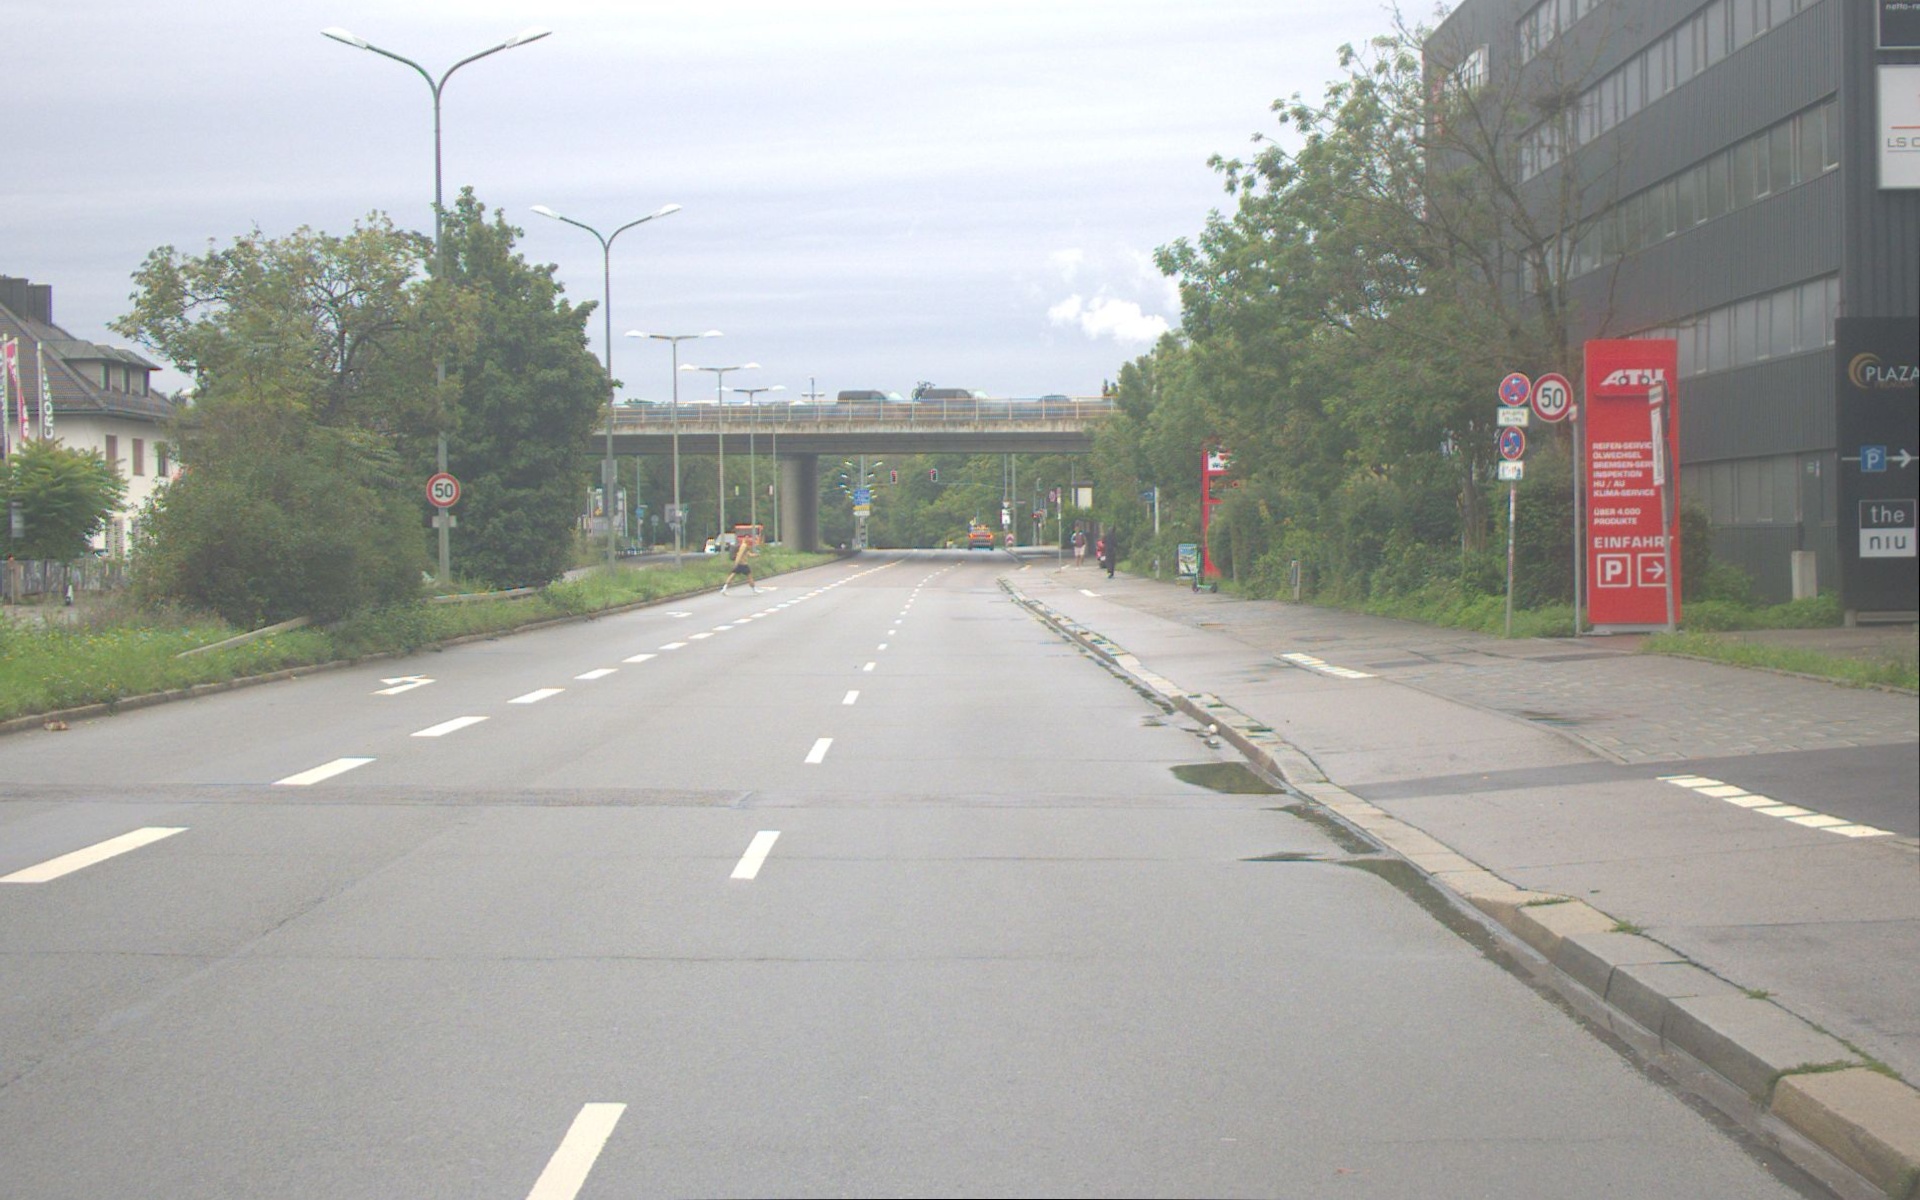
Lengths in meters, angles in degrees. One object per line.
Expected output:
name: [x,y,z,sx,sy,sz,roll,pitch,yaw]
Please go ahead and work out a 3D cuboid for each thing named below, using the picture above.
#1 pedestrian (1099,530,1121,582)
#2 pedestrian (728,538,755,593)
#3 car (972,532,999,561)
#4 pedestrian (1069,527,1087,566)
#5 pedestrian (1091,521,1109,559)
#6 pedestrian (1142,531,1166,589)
pedestrian: [5.414,-1.586,124.362,0.689,1.869,0.662,-2,1,-1]
pedestrian: [-6.612,-1.045,103.959,0.660,1.611,0.691,-2,1,5]
car: [1.799,-3.810,243.345,1.812,2.007,3.833,1,1,1]
pedestrian: [5.075,-2.292,147.418,0.689,1.611,0.662,-2,1,-1]
pedestrian: [6.042,-2.598,148.027,0.689,1.611,0.662,-2,1,-1]
pedestrian: [6.385,-1.310,112.959,0.689,1.869,0.662,-2,1,-1]
